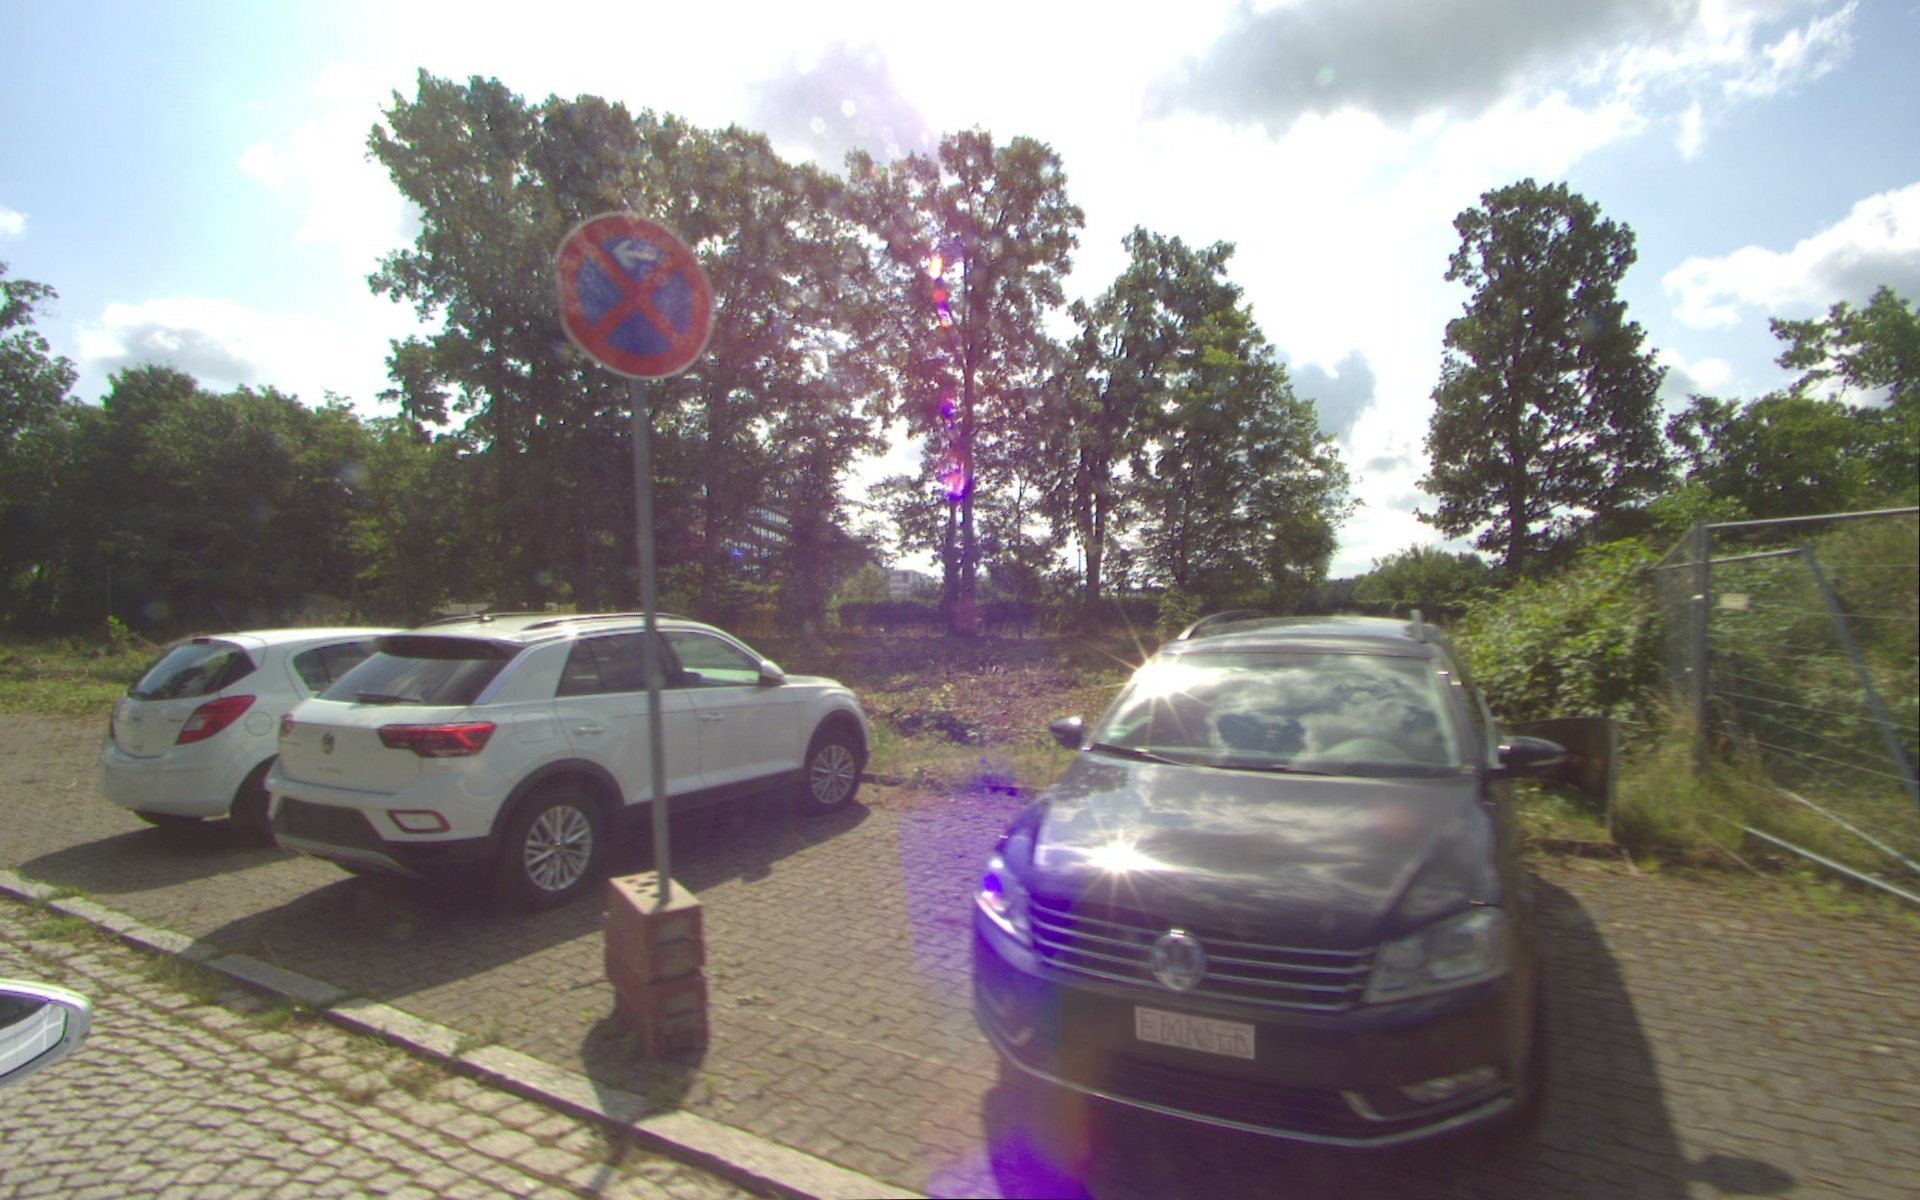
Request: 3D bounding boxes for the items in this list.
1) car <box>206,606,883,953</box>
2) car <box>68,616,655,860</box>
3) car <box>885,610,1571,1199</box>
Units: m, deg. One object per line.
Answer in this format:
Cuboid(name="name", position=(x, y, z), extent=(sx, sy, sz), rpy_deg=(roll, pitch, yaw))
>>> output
Cuboid(name="car", position=(-2.328, 0.838, 6.702), extent=(1.720, 1.527, 3.982), rpy_deg=(-1, 0, 28))
Cuboid(name="car", position=(-4.740, 0.928, 8.606), extent=(1.678, 1.483, 4.038), rpy_deg=(-1, 0, 28))
Cuboid(name="car", position=(1.553, 0.837, 4.547), extent=(1.718, 1.495, 4.451), rpy_deg=(-1, 0, 27))
